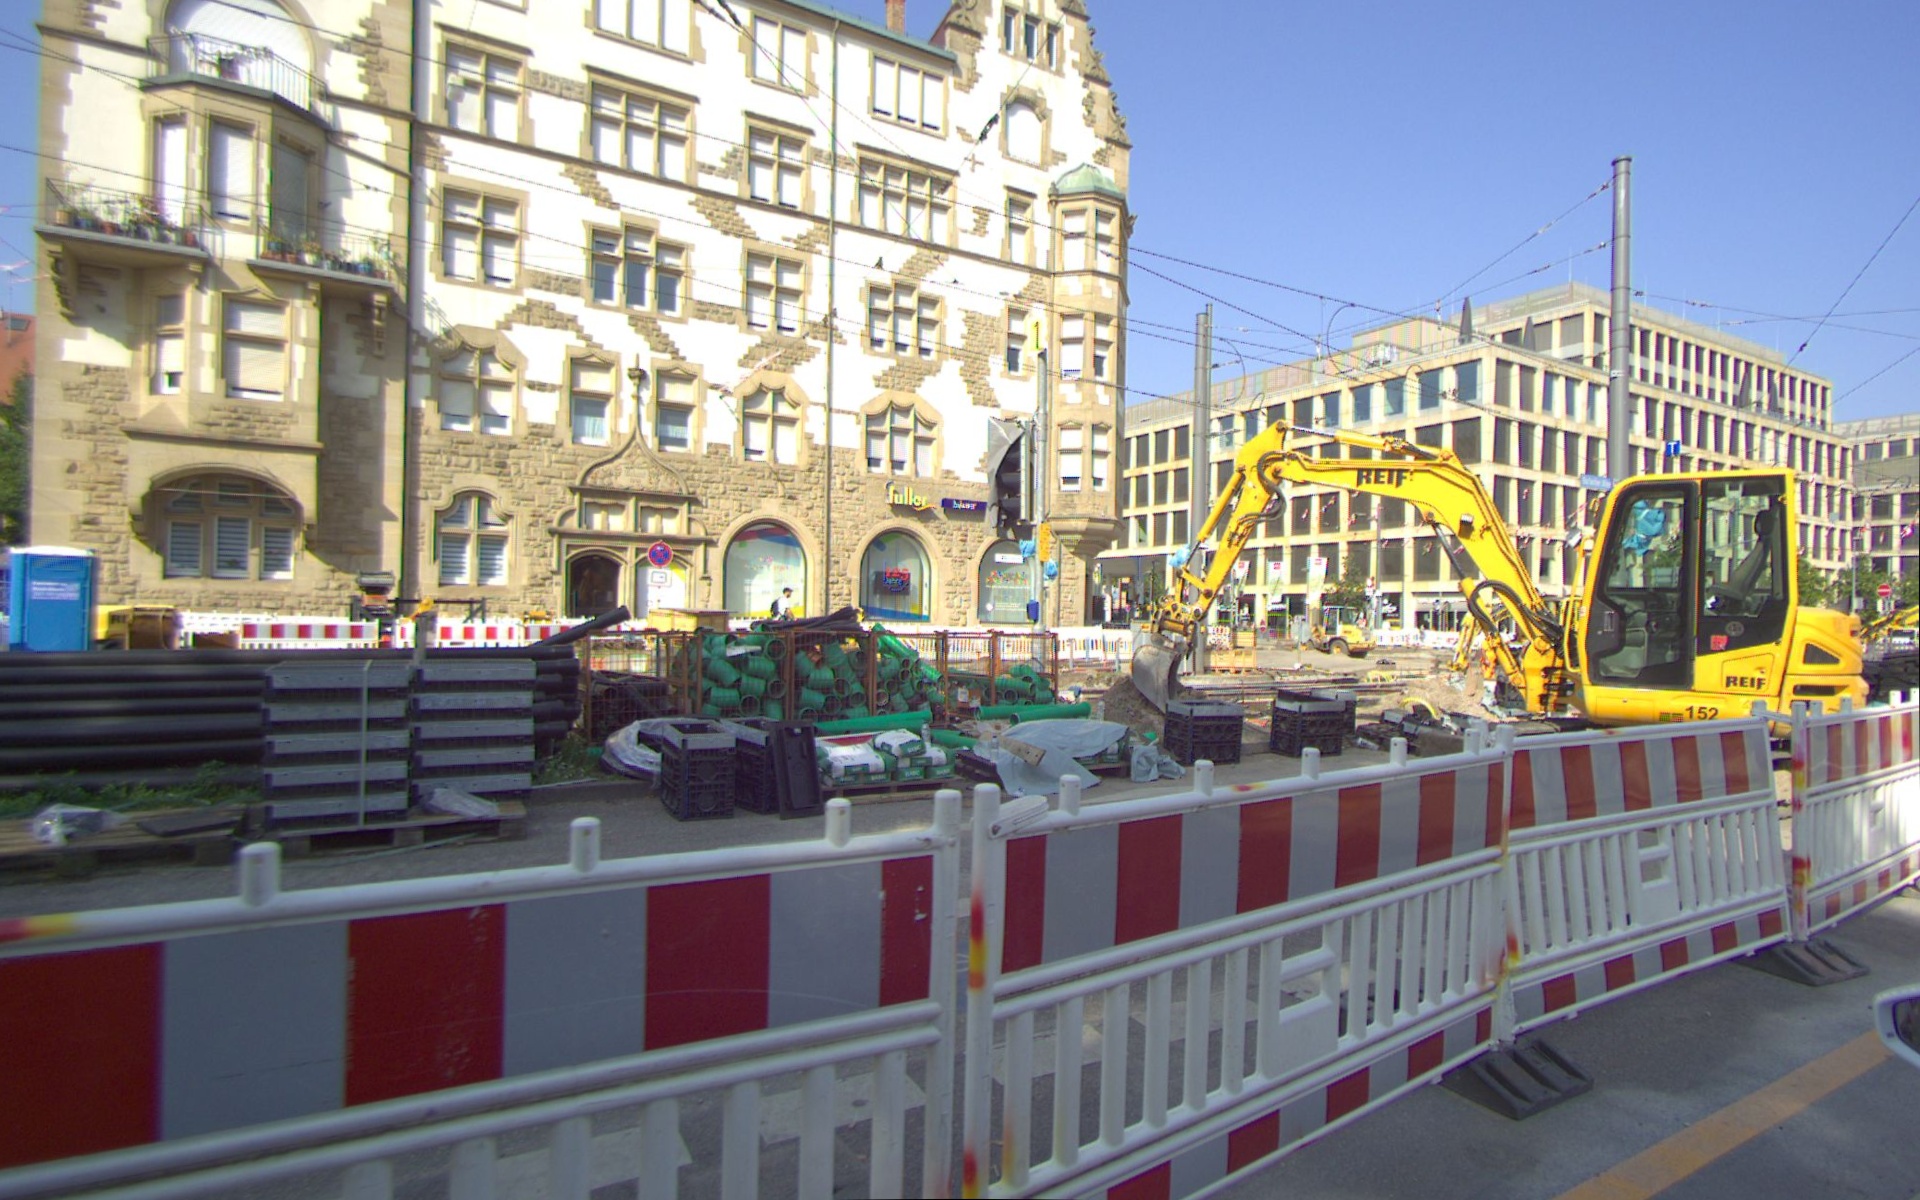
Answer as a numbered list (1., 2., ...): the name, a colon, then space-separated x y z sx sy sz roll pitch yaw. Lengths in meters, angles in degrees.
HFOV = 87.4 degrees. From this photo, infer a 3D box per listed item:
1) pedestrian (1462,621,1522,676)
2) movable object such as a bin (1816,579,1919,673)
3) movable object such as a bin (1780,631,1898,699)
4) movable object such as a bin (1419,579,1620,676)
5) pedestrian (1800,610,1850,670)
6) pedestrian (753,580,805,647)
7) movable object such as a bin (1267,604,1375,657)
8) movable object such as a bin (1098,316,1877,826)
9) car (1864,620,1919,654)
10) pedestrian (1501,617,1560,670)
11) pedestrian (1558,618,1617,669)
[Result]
1. pedestrian: 14.603 1.309 27.571 0.906 1.461 1.137 2 -1 -29
2. movable object such as a bin: 44.876 1.216 46.025 8.872 4.066 3.512 1 -1 -7
3. movable object such as a bin: 16.002 1.167 18.280 2.259 1.185 0.748 1 -1 -24
4. movable object such as a bin: 21.457 1.104 38.394 8.244 3.373 2.834 2 -2 -29
5. pedestrian: 27.953 1.272 32.475 1.002 1.890 1.144 1 -1 28
6. pedestrian: -4.938 0.375 27.424 1.132 1.764 0.910 2 -1 -30
7. movable object such as a bin: 19.993 1.662 55.919 2.110 2.775 5.586 2 -1 -30
8. movable object such as a bin: 4.463 -0.190 9.482 6.072 3.390 2.106 1 -1 41
9. car: 58.938 2.300 62.179 5.029 2.057 1.813 1 -1 -11
10. pedestrian: 16.098 1.227 28.363 0.906 1.461 1.137 2 -1 -29
11. pedestrian: 18.490 1.279 29.612 1.008 1.461 1.137 2 -1 -29
